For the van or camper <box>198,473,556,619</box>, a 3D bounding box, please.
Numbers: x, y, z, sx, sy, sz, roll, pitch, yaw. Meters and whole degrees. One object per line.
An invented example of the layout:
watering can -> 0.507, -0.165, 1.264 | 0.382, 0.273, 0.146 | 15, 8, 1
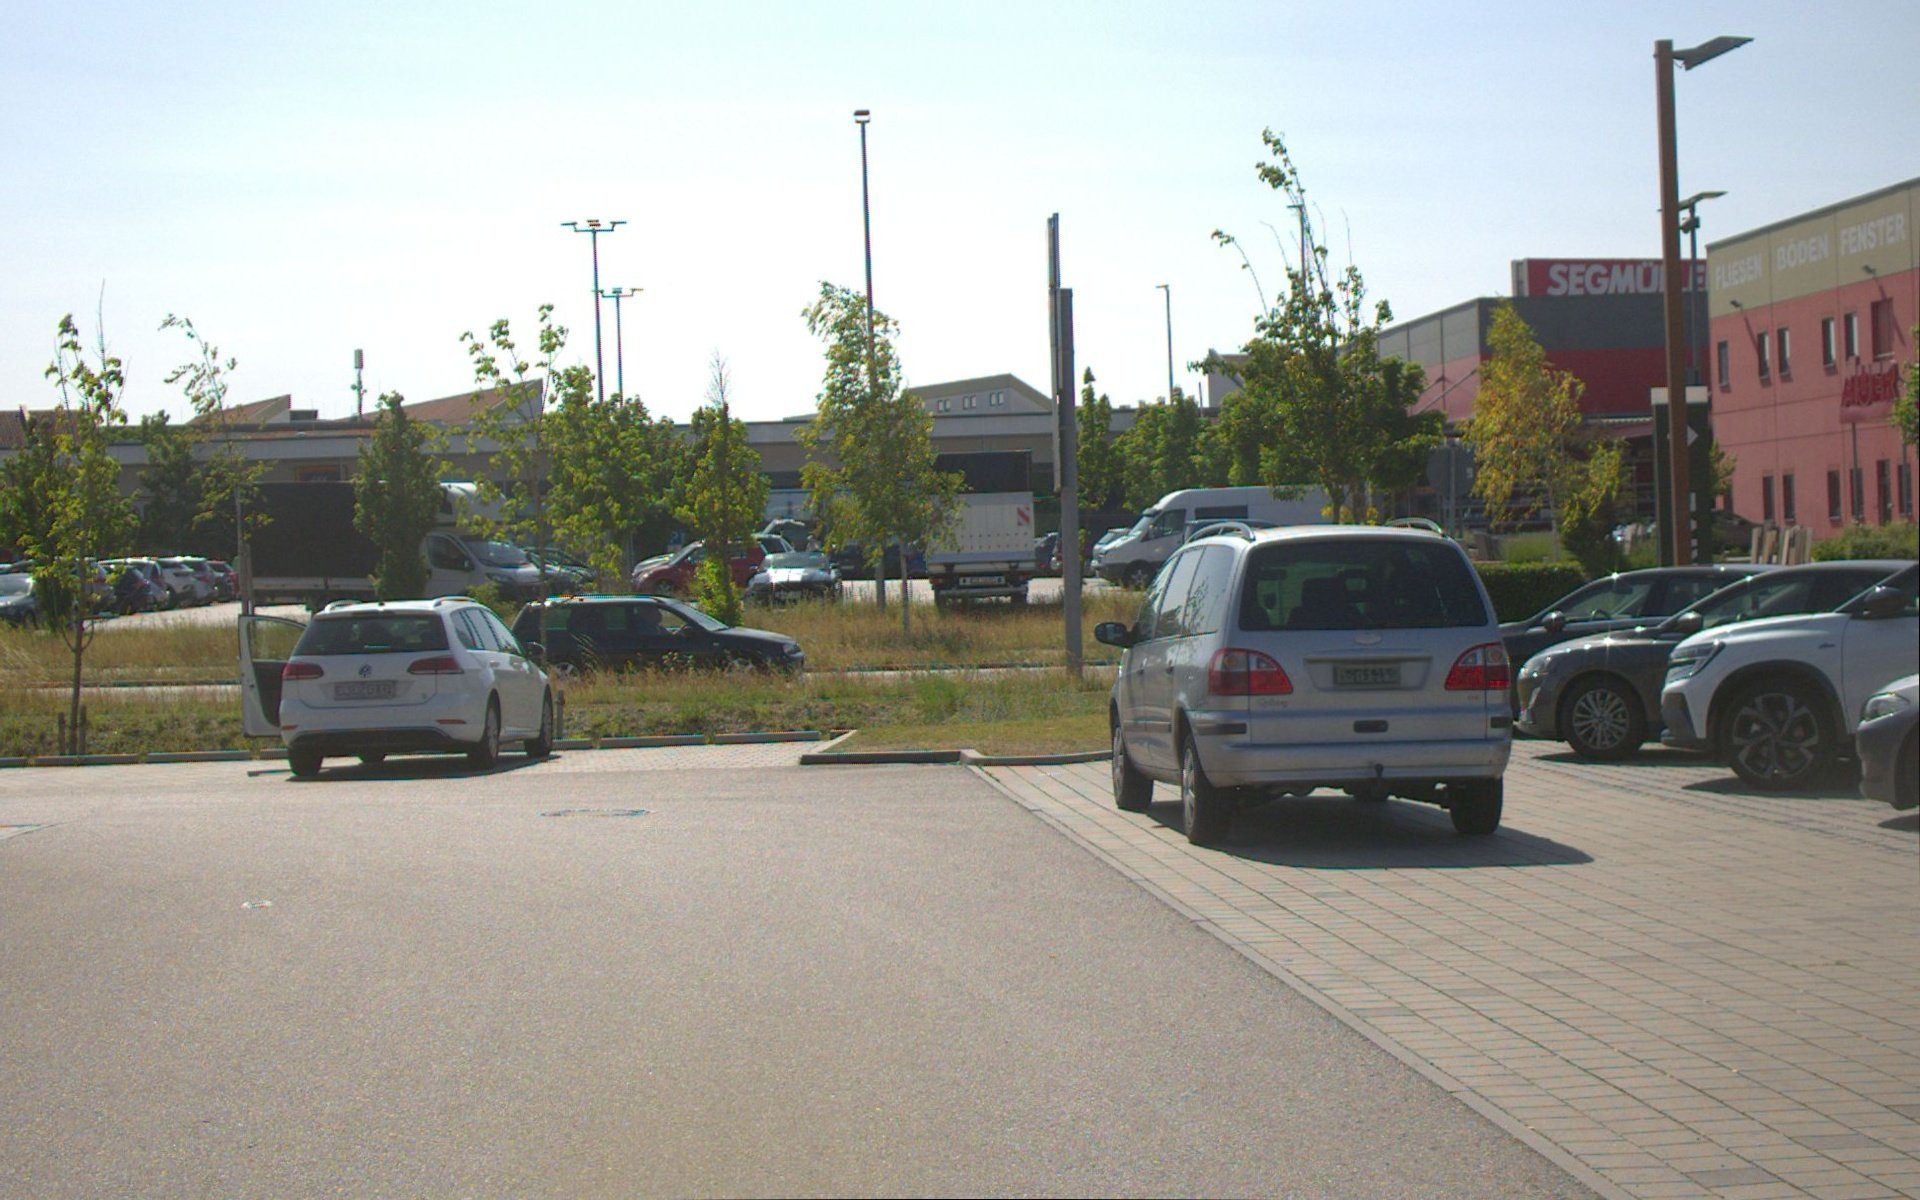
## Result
van or camper -> -13.031, -1.165, 76.561 | 8.041, 3.091, 2.415 | 0, 1, 29

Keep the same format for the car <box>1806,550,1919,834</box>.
car -> 7.203, 0.468, 18.318 | 4.839, 1.521, 1.972 | 0, 1, 33

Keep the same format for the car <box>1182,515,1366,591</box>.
car -> 8.019, -1.198, 88.053 | 4.389, 1.849, 1.956 | -1, 1, -5

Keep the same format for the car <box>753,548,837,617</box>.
car -> -3.632, -0.398, 76.061 | 1.650, 1.454, 3.967 | -1, 1, 0

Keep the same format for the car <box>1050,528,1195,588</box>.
car -> 5.205, -1.348, 110.164 | 4.389, 1.849, 1.956 | -1, 1, -5

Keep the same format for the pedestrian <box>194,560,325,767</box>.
pedestrian -> -6.266, 0.563, 30.788 | 0.991, 1.803, 0.726 | -1, -1, -2

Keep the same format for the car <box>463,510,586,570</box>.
car -> -14.944, -2.054, 118.056 | 3.986, 2.007, 2.000 | -1, 1, -2

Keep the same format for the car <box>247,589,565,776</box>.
car -> -4.753, 0.683, 30.117 | 1.827, 1.464, 4.481 | -2, 0, 3

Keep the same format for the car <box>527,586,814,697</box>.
car -> -4.131, 0.581, 49.472 | 3.987, 1.490, 1.676 | -1, 1, -1

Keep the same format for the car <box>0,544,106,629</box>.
car -> -21.356, -0.309, 77.631 | 1.951, 1.849, 4.401 | -1, 1, 18

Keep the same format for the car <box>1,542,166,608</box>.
car -> -25.646, -0.743, 100.714 | 4.389, 1.849, 1.956 | -1, 1, -5

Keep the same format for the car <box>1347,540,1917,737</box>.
car -> 5.671, 0.297, 29.265 | 4.328, 1.521, 1.971 | 0, 2, 39

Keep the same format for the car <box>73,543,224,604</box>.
car -> -25.720, -0.856, 109.056 | 4.389, 1.849, 1.956 | -1, 1, -5

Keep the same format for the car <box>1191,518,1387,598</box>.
car -> 7.900, -1.018, 82.874 | 4.389, 1.849, 1.956 | -1, 1, -5

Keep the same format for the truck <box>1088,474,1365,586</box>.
truck -> 7.016, -1.843, 90.747 | 7.034, 2.805, 1.956 | -1, 1, -5

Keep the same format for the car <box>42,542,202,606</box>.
car -> -25.141, -0.785, 103.206 | 4.389, 1.849, 1.956 | -1, 1, -5

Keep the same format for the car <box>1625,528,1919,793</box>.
car -> 6.615, 0.354, 22.147 | 4.199, 1.649, 1.973 | -1, 1, 26

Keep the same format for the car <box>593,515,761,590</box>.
car -> -7.306, -1.237, 88.821 | 4.253, 1.849, 1.870 | -1, 1, -5

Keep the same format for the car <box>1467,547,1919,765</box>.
car -> 6.120, 0.383, 25.576 | 4.201, 1.521, 1.972 | 0, 1, 32

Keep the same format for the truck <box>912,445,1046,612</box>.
truck -> 0.422, -1.557, 75.716 | 2.759, 3.469, 6.833 | -1, 1, 0

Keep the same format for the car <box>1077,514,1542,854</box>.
car -> 1.929, 0.420, 20.462 | 1.827, 1.742, 4.684 | -2, 1, -6

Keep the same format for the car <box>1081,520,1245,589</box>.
car -> 5.722, -1.288, 97.244 | 4.389, 1.849, 1.956 | -1, 1, -5
